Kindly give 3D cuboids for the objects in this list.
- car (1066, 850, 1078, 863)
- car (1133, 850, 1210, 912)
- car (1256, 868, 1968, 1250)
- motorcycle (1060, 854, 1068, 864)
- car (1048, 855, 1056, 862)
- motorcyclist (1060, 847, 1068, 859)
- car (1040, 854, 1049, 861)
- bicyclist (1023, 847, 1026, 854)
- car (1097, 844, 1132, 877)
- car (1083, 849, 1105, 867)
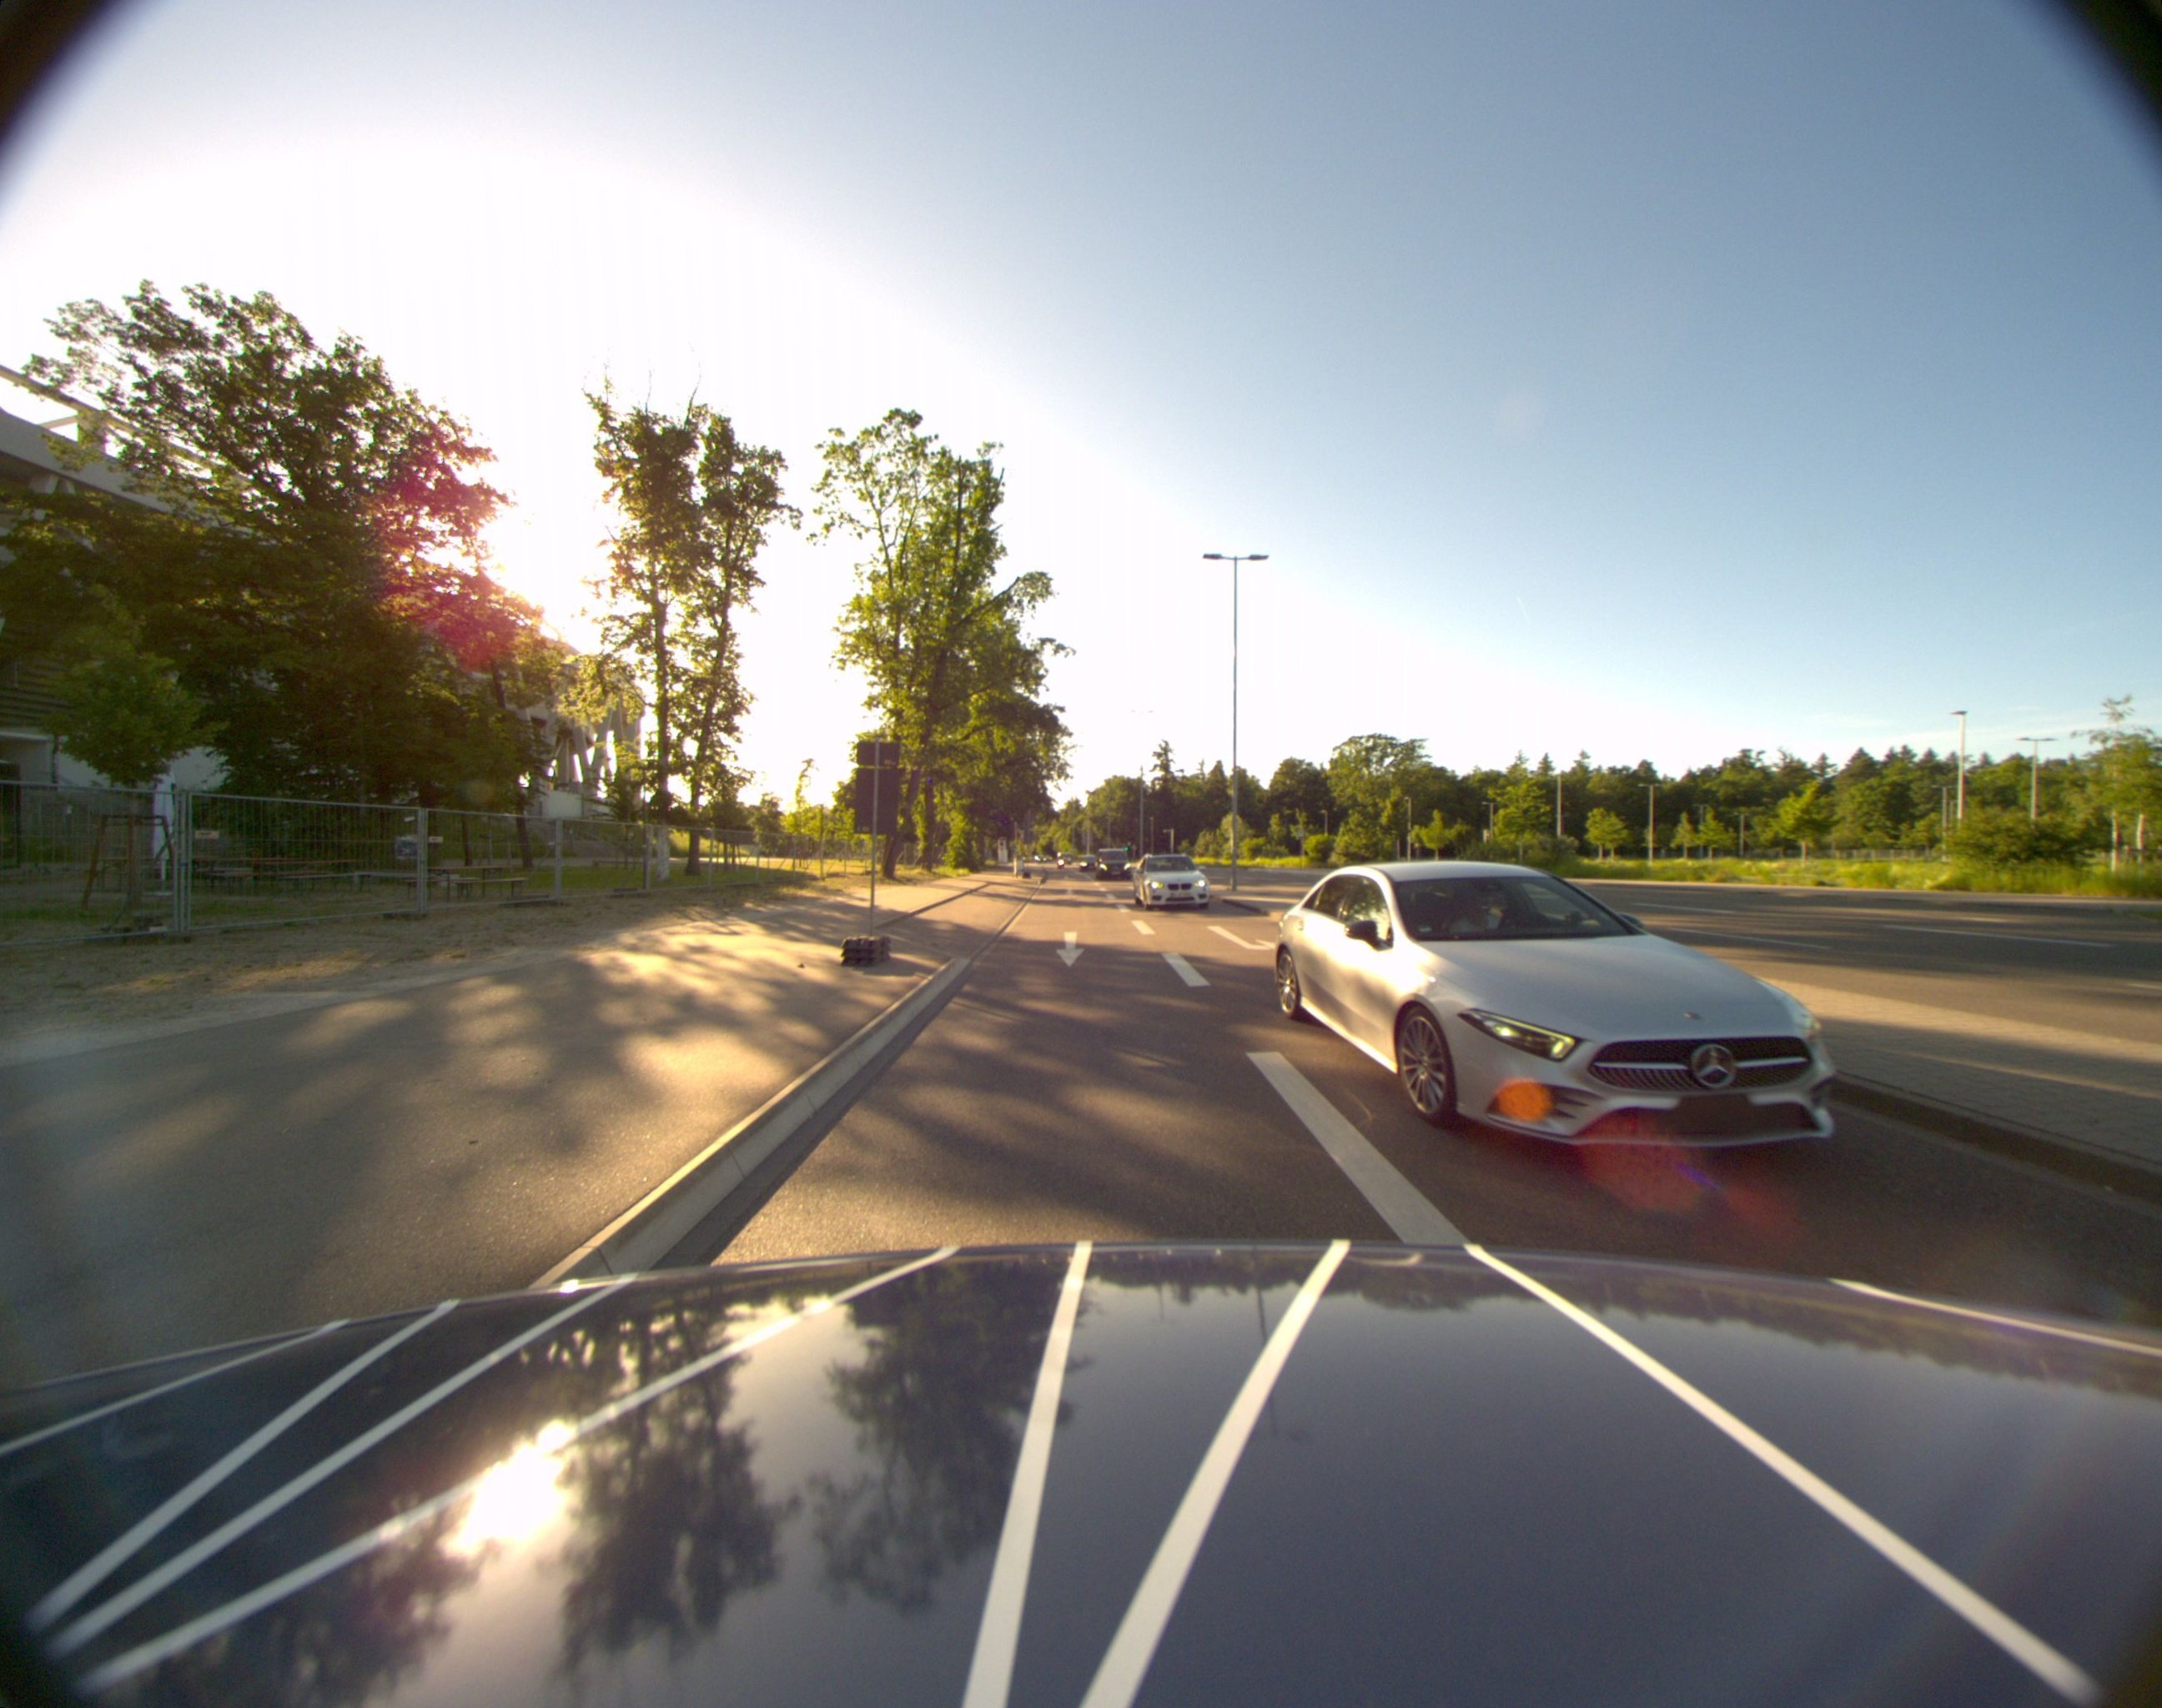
[{"bbox_3d":[-1.499,0.369,124.705,1.883,1.951,5.048,-2,0,0],"label":"car"},{"bbox_3d":[2.538,0.774,22.282,1.723,1.571,4.435,-2,-1,1],"label":"car"},{"bbox_3d":[2.690,0.872,5.255,1.790,1.436,4.277,-2,0,-2],"label":"car"},{"bbox_3d":[-1.938,0.559,86.291,0.717,1.058,2.721,-2,0,1],"label":"motorcycle"},{"bbox_3d":[-7.790,1.119,204.264,1.675,1.827,3.982,-2,1,1],"label":"car"},{"bbox_3d":[-1.954,-0.085,85.586,0.822,1.367,0.476,-2,1,1],"label":"motorcyclist"},{"bbox_3d":[-8.401,0.785,175.067,1.883,1.629,5.048,-2,0,0],"label":"car"},{"bbox_3d":[-11.320,-0.780,152.890,0.451,1.412,0.575,0,1,0],"label":"bicyclist"},{"bbox_3d":[1.976,0.445,46.266,1.912,1.844,4.875,-2,-2,1],"label":"car"},{"bbox_3d":[1.159,0.332,70.663,1.883,1.528,3.999,-2,1,0],"label":"car"}]
